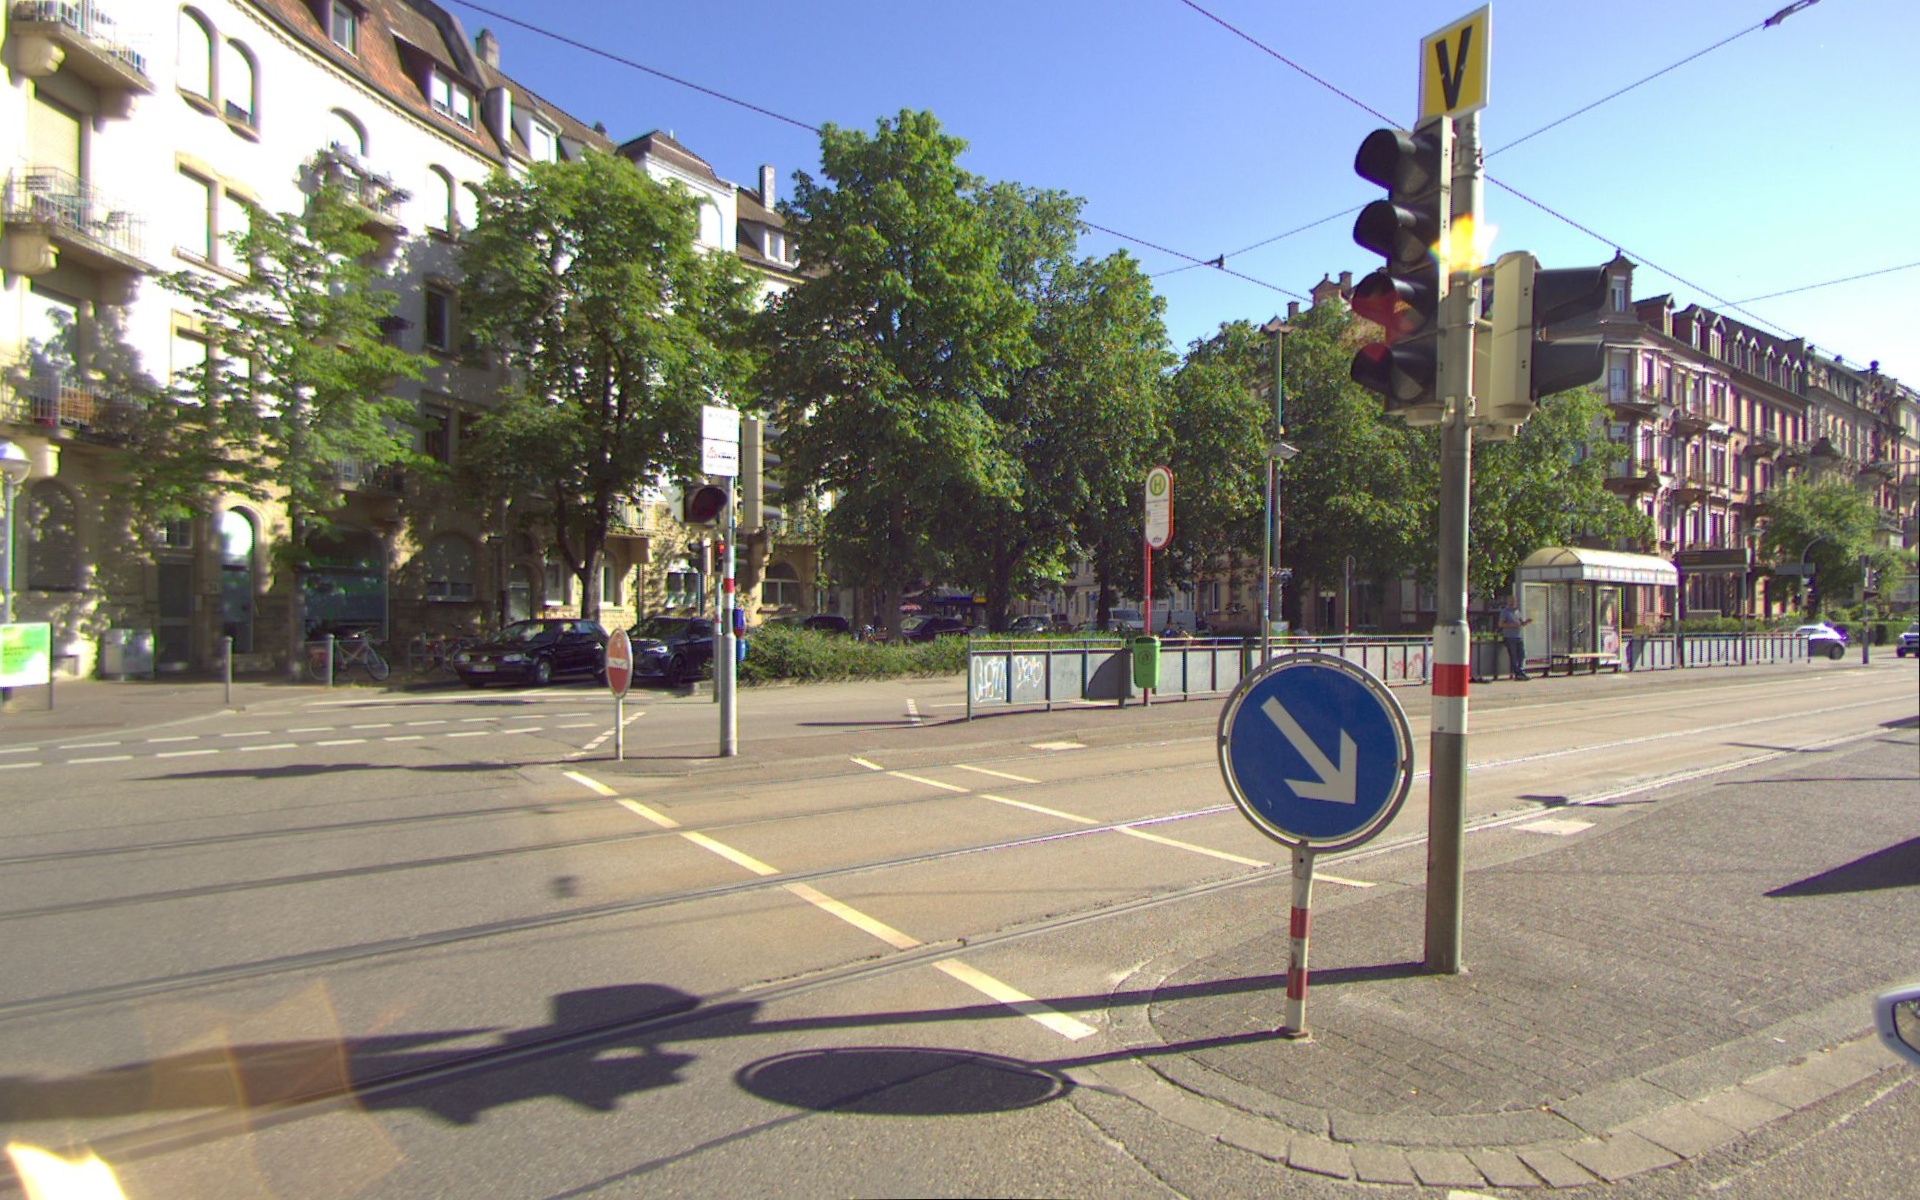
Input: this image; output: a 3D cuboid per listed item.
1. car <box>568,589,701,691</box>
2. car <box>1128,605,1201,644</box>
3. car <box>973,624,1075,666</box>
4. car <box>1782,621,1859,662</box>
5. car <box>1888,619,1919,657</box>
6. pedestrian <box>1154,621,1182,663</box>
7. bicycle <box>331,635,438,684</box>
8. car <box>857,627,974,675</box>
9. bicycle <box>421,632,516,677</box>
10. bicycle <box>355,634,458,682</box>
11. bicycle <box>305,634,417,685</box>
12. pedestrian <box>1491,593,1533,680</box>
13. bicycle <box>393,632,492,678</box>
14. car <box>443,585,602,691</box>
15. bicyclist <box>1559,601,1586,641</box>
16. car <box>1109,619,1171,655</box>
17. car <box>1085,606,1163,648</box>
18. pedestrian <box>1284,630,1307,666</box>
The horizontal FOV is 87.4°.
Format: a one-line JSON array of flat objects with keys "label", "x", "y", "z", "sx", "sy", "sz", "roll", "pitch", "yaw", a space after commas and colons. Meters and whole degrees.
[{"label": "car", "x": -7.153, "y": 0.824, "z": 22.498, "sx": 1.962, "sy": 2.040, "sz": 3.997, "roll": 1, "pitch": 0, "yaw": -5}, {"label": "car", "x": 11.549, "y": 1.346, "z": 56.982, "sx": 1.967, "sy": 2.040, "sz": 5.013, "roll": 2, "pitch": 0, "yaw": -15}, {"label": "car", "x": 2.487, "y": 1.669, "z": 38.554, "sx": 3.973, "sy": 1.450, "sz": 1.731, "roll": 0, "pitch": -1, "yaw": -45}, {"label": "car", "x": 37.135, "y": 1.772, "z": 43.314, "sx": 3.964, "sy": 1.639, "sz": 1.762, "roll": 2, "pitch": 0, "yaw": -38}, {"label": "car", "x": 43.776, "y": 1.728, "z": 45.617, "sx": 3.964, "sy": 1.639, "sz": 1.762, "roll": 2, "pitch": 0, "yaw": -38}, {"label": "pedestrian", "x": 6.153, "y": 1.235, "z": 29.708, "sx": 0.598, "sy": 1.217, "sz": 0.577, "roll": -1, "pitch": -1, "yaw": 37}, {"label": "bicycle", "x": -12.508, "y": 1.286, "z": 21.853, "sx": 1.997, "sy": 0.993, "sz": 0.611, "roll": 1, "pitch": 0, "yaw": 3}, {"label": "car", "x": -1.473, "y": 1.695, "z": 34.288, "sx": 1.728, "sy": 1.450, "sz": 3.979, "roll": -1, "pitch": -1, "yaw": 41}, {"label": "bicycle", "x": -11.848, "y": 1.303, "z": 24.257, "sx": 1.997, "sy": 0.993, "sz": 0.611, "roll": 1, "pitch": 0, "yaw": 3}, {"label": "bicycle", "x": -12.460, "y": 1.291, "z": 22.639, "sx": 1.997, "sy": 0.993, "sz": 0.611, "roll": 1, "pitch": 0, "yaw": 3}, {"label": "bicycle", "x": -12.537, "y": 1.235, "z": 21.056, "sx": 1.997, "sy": 0.993, "sz": 0.611, "roll": 1, "pitch": 0, "yaw": 3}, {"label": "pedestrian", "x": 11.860, "y": 0.774, "z": 21.593, "sx": 0.574, "sy": 1.819, "sz": 0.601, "roll": 1, "pitch": -1, "yaw": -37}, {"label": "bicycle", "x": -12.047, "y": 1.273, "z": 23.416, "sx": 1.997, "sy": 0.993, "sz": 0.611, "roll": 1, "pitch": 0, "yaw": 3}, {"label": "car", "x": -9.354, "y": 0.768, "z": 21.871, "sx": 1.962, "sy": 2.040, "sz": 3.997, "roll": 1, "pitch": 0, "yaw": -5}, {"label": "bicyclist", "x": 26.188, "y": 0.898, "z": 42.925, "sx": 0.726, "sy": 1.687, "sz": 0.710, "roll": 1, "pitch": 0, "yaw": -32}, {"label": "car", "x": 8.083, "y": 1.617, "z": 44.883, "sx": 1.720, "sy": 1.450, "sz": 3.996, "roll": -1, "pitch": 0, "yaw": 25}, {"label": "car", "x": 8.522, "y": 1.369, "z": 52.533, "sx": 1.970, "sy": 2.040, "sz": 4.567, "roll": 2, "pitch": 0, "yaw": -21}, {"label": "pedestrian", "x": 11.577, "y": 1.652, "z": 34.662, "sx": 0.598, "sy": 1.217, "sz": 0.577, "roll": -1, "pitch": -1, "yaw": 37}]
